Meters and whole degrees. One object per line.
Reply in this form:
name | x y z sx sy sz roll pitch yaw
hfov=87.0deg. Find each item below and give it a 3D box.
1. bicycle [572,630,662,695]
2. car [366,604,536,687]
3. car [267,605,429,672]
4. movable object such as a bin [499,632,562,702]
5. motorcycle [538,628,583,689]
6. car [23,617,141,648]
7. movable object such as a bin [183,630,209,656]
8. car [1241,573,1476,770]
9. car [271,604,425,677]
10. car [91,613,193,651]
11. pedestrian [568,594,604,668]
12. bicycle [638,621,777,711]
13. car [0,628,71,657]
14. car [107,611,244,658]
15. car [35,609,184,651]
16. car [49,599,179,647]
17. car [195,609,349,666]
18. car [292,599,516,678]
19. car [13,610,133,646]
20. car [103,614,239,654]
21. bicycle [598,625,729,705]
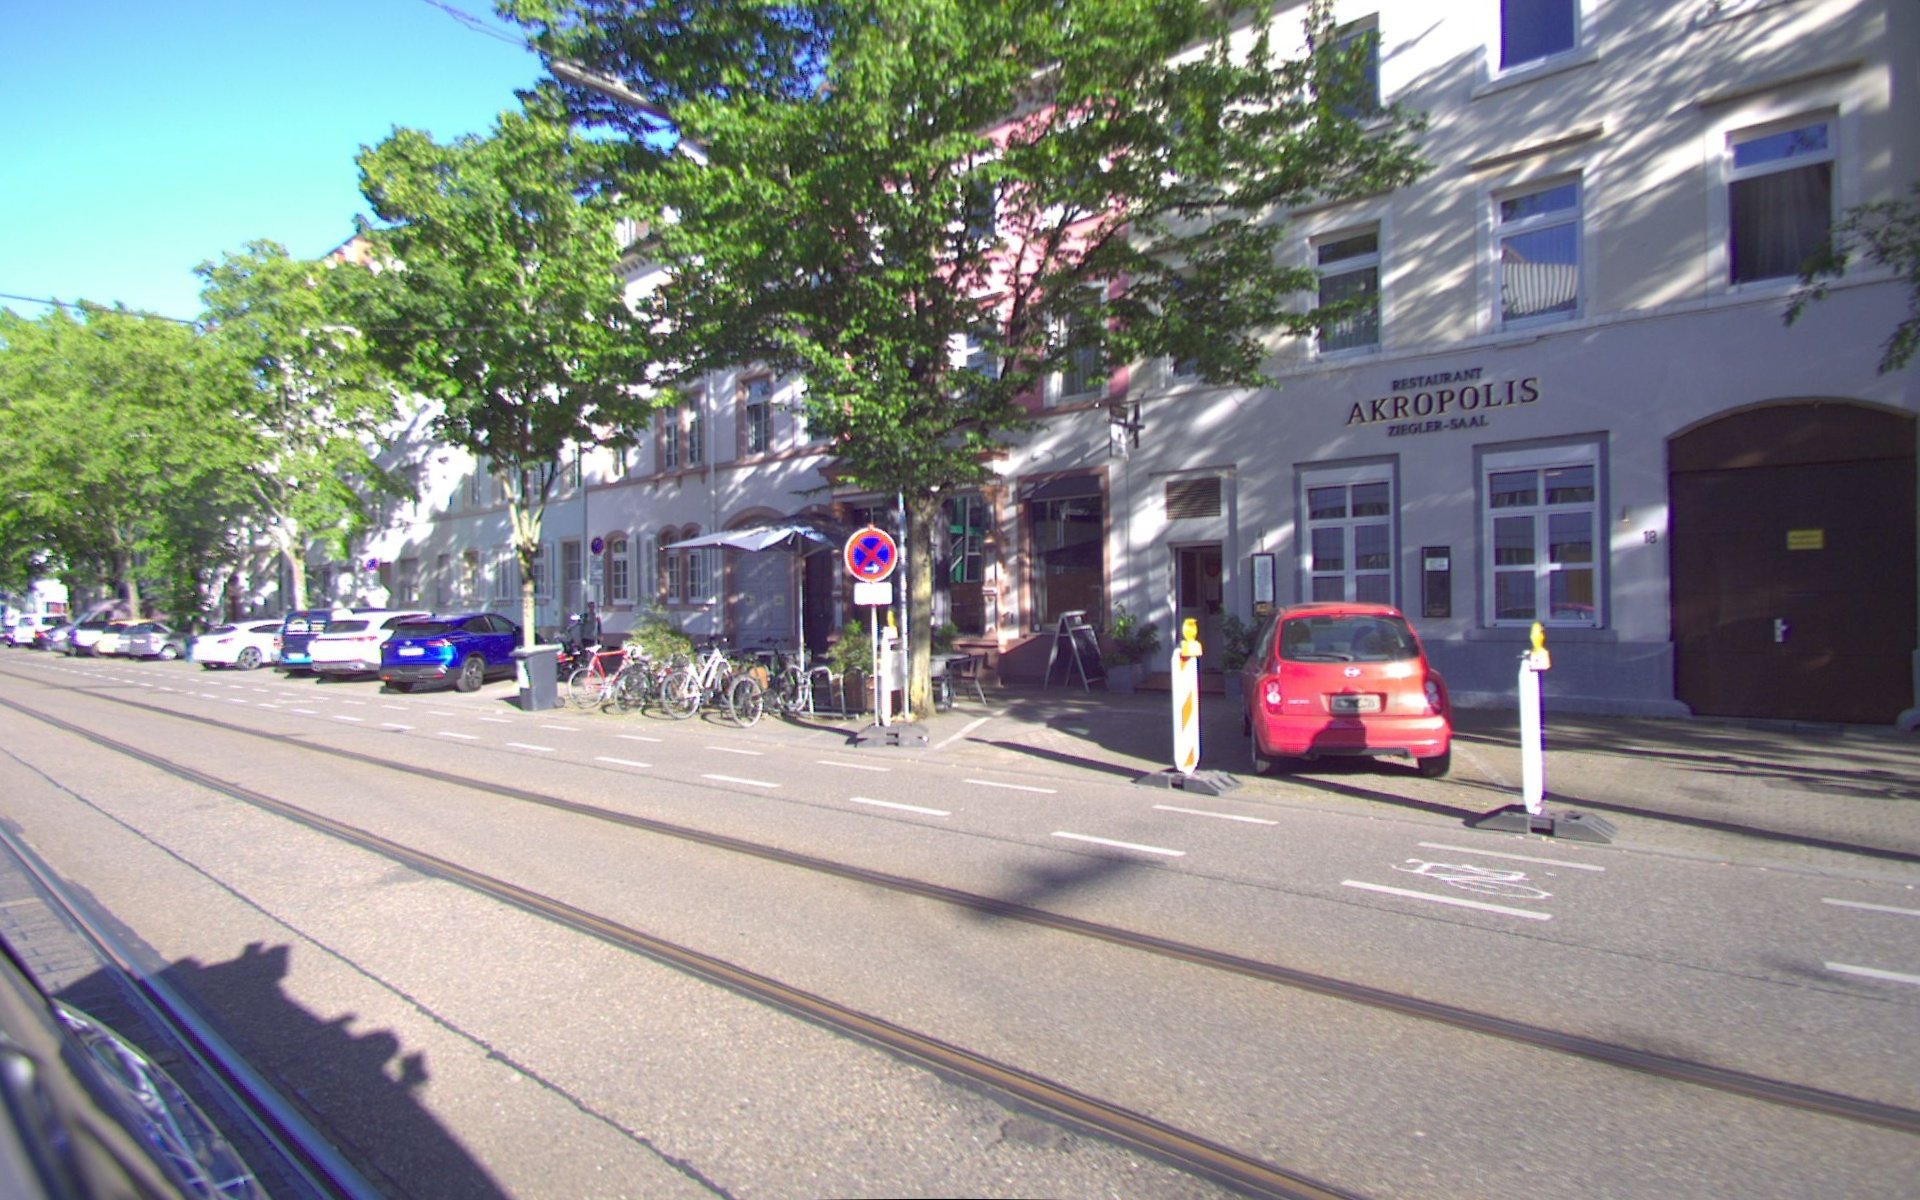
bicycle | -5.886 1.053 17.427 0.387 0.995 1.588 -2 0 30
car | -10.901 0.932 21.982 1.553 1.621 3.897 -1 -1 4
car | -17.967 1.071 29.938 1.792 1.669 3.984 -2 1 13
movable object such as a bin | -7.121 1.092 16.790 0.709 1.086 0.676 -2 2 42
motorcycle | -8.823 1.264 22.423 0.714 1.263 2.607 0 -2 -17
car | -48.311 1.737 55.766 1.950 1.588 4.652 -1 -1 36
movable object such as a bin | -28.206 1.595 37.367 0.669 0.952 0.615 -1 -3 40
car | 3.700 0.574 9.983 1.653 1.565 3.608 -3 0 15
car | -16.543 1.068 27.556 1.715 1.857 3.432 -1 -1 12
car | -35.119 1.345 43.535 1.369 1.565 3.364 -1 -1 10
pedestrian | -9.421 0.778 25.523 0.624 1.852 0.636 -1 -2 42
bicycle | -3.760 0.954 15.213 0.567 1.095 1.981 -2 3 43
car | -58.269 2.627 63.152 1.762 1.570 3.987 -1 0 11
car | -30.598 1.297 39.606 1.690 1.689 3.973 -1 0 20
car | -37.917 1.308 45.202 2.161 1.737 4.782 -1 -1 38
car | -39.749 1.039 47.636 2.161 2.134 4.394 -1 -1 38
car | -21.814 1.138 32.237 1.873 1.541 3.623 -1 2 21
car | -14.008 0.915 25.894 2.191 1.808 4.911 -1 -1 18
car | -51.291 1.607 58.681 2.057 2.029 4.913 -1 -1 17
car | -32.416 1.362 41.728 1.693 1.564 4.137 -1 -1 25
bicycle | -4.701 0.998 16.152 0.568 1.087 1.946 -2 1 43
